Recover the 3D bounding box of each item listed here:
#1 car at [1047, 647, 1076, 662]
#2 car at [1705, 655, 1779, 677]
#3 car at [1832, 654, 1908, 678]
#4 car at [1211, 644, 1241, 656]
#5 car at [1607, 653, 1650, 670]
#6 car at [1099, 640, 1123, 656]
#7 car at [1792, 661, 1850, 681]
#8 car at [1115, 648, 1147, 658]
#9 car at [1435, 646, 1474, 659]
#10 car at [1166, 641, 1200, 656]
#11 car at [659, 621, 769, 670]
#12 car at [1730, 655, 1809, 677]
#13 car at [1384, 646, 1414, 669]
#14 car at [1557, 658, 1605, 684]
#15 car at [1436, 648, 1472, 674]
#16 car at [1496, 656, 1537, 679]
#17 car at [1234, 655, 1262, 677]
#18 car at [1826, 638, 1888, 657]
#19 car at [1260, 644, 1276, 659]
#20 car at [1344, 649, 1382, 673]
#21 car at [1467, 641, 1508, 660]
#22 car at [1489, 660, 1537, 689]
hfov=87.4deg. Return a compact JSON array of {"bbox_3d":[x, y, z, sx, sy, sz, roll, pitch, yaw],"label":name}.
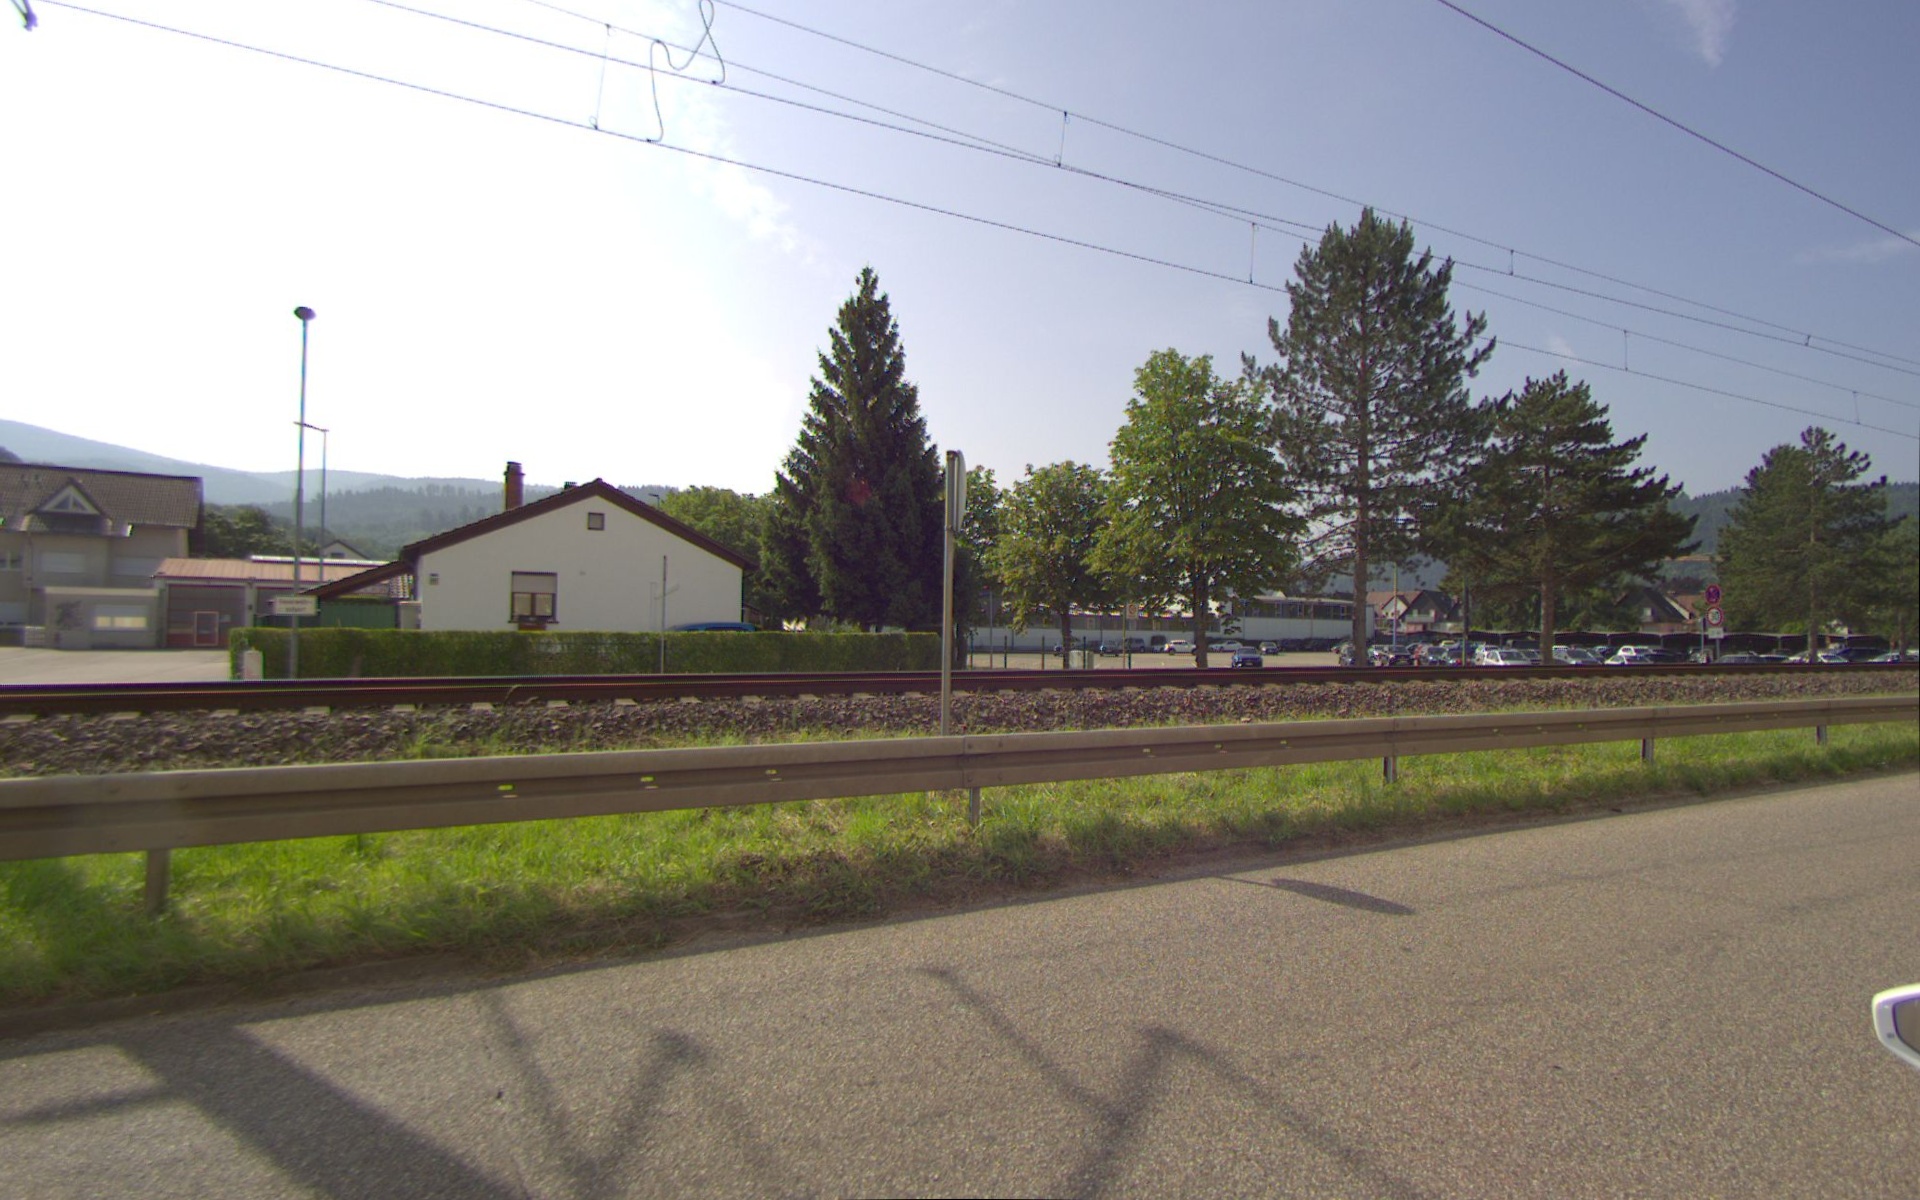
[{"bbox_3d":[10.106,5.412,99.935,1.963,1.461,3.996,1,-2,-8],"label":"car"},{"bbox_3d":[50.592,4.266,65.021,3.450,1.375,1.520,0,-2,16],"label":"car"},{"bbox_3d":[69.031,5.012,76.284,3.928,1.661,1.997,-1,-2,30],"label":"car"},{"bbox_3d":[31.777,5.946,119.898,3.495,1.342,1.446,2,-3,-30],"label":"car"},{"bbox_3d":[55.520,5.064,83.448,1.428,1.342,3.539,0,-2,5],"label":"car"},{"bbox_3d":[15.000,4.786,99.758,1.537,1.543,3.536,0,-2,23],"label":"car"},{"bbox_3d":[62.929,5.178,73.468,1.428,1.342,3.539,0,-2,4],"label":"car"},{"bbox_3d":[19.255,5.946,113.176,3.495,1.125,1.329,2,-3,-30],"label":"car"},{"bbox_3d":[52.388,5.596,106.494,3.465,1.342,1.458,0,-2,11],"label":"car"},{"bbox_3d":[23.960,5.241,107.981,3.465,1.543,1.568,0,-2,5],"label":"car"},{"bbox_3d":[-7.281,1.358,29.795,2.864,1.370,1.382,2,-3,-33],"label":"car"},{"bbox_3d":[53.467,4.333,66.408,3.779,1.342,1.566,0,-2,10],"label":"car"},{"bbox_3d":[32.418,4.209,74.254,1.654,1.664,3.854,0,-2,18],"label":"car"},{"bbox_3d":[39.517,4.469,63.992,1.654,1.526,3.854,0,-2,18],"label":"car"},{"bbox_3d":[33.315,4.108,67.804,1.654,1.664,3.854,0,-2,18],"label":"car"},{"bbox_3d":[36.980,4.475,66.786,1.654,1.408,3.854,0,-2,18],"label":"car"},{"bbox_3d":[19.031,4.363,66.474,1.654,1.349,3.855,0,-2,14],"label":"car"},{"bbox_3d":[82.485,4.359,92.395,1.801,1.557,3.959,2,-1,-36],"label":"car"},{"bbox_3d":[33.544,5.587,109.437,1.535,1.543,3.539,0,-2,14],"label":"car"},{"bbox_3d":[25.687,3.892,64.137,1.654,1.425,3.856,0,-2,13],"label":"car"},{"bbox_3d":[48.673,4.683,92.777,1.960,1.661,4.003,0,-2,5],"label":"car"},{"bbox_3d":[31.024,4.147,56.418,1.654,1.462,3.854,0,-2,18],"label":"car"}]
